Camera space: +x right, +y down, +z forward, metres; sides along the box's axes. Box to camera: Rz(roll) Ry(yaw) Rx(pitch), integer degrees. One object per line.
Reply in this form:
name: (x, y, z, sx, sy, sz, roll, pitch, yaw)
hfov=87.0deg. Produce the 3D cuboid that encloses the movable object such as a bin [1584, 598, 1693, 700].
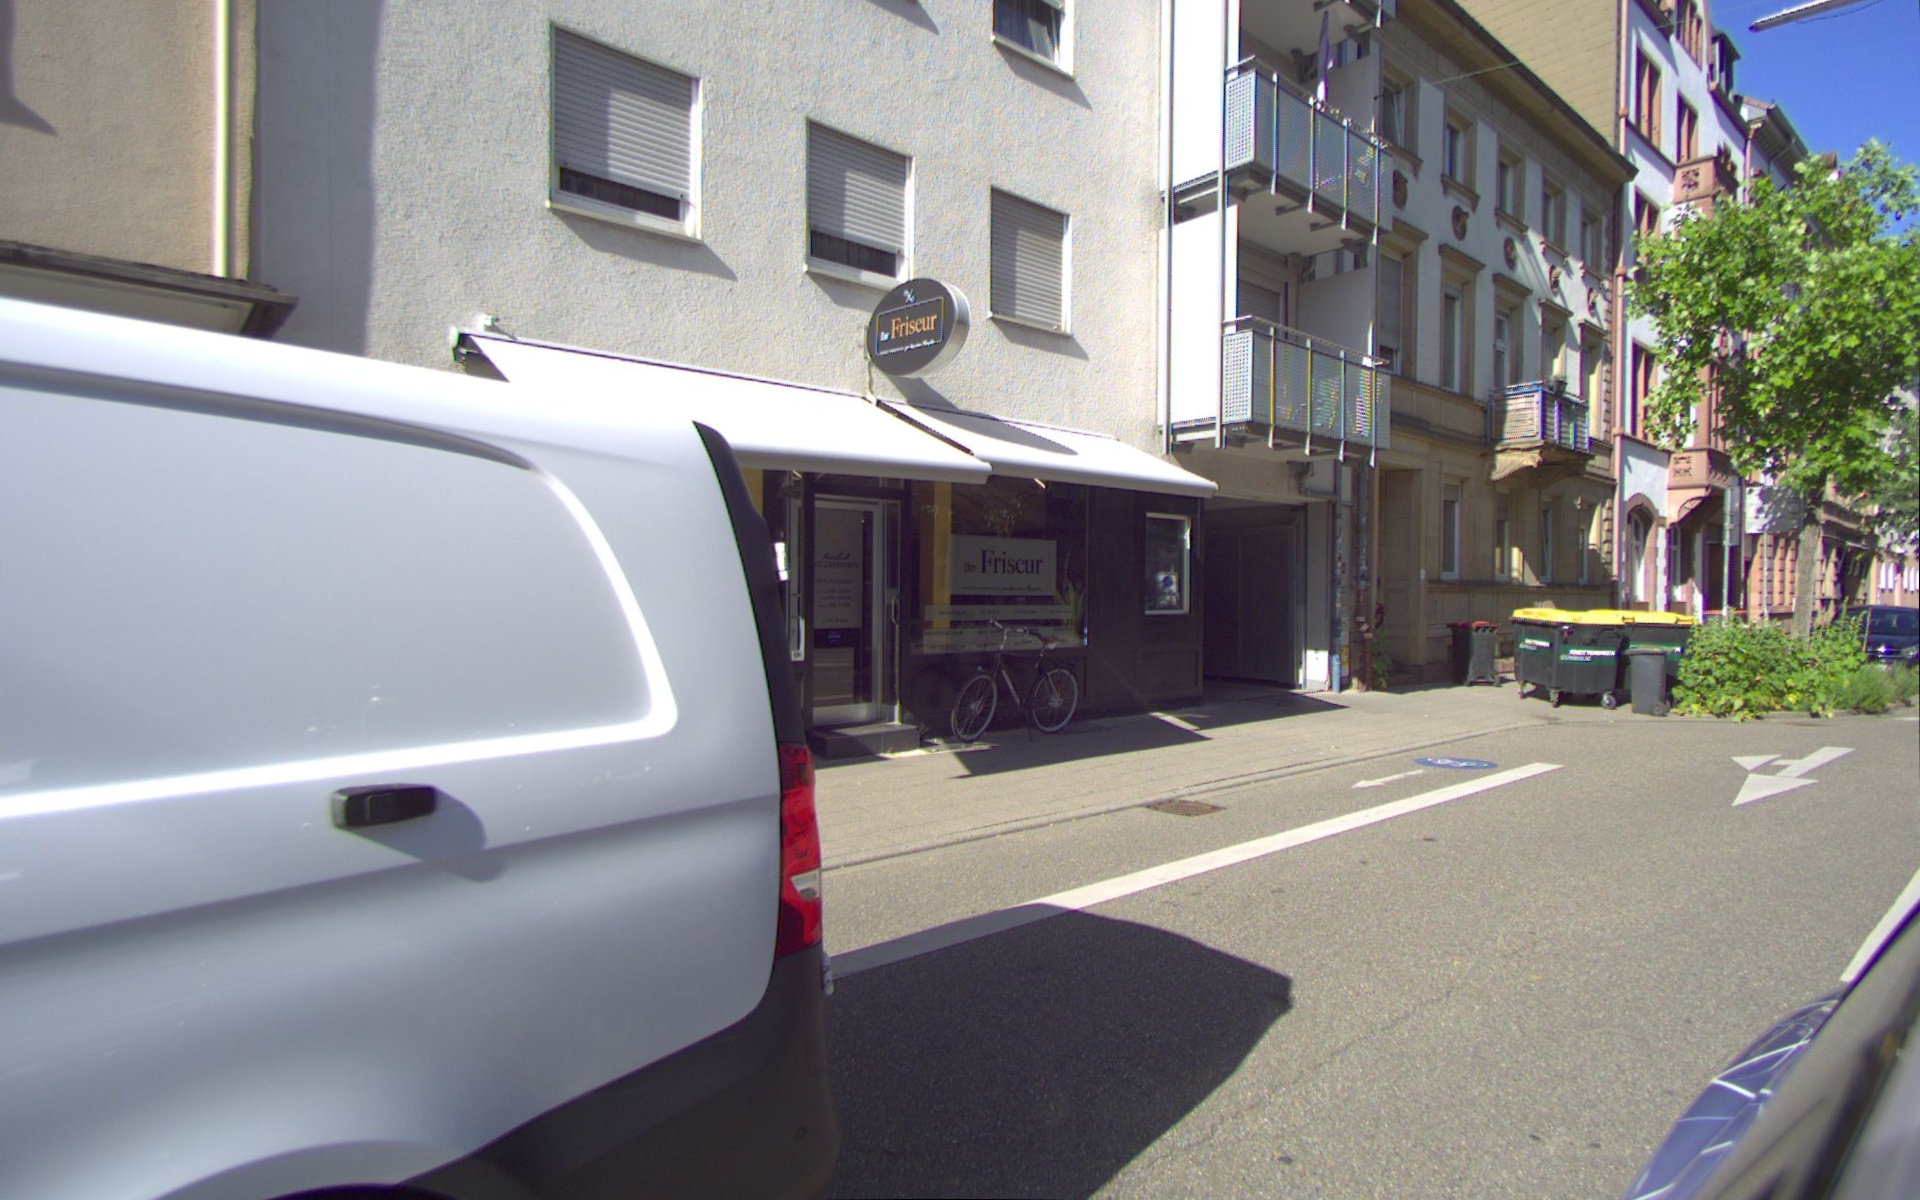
movable object such as a bin: (9.956, 0.686, 14.903, 0.943, 1.365, 1.066, 1, 3, 11)

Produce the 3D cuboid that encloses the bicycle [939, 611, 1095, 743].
bicycle: (0.602, 0.720, 10.105, 1.760, 1.193, 0.402, 0, 0, -41)

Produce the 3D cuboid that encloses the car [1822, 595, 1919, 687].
car: (16.834, 0.674, 18.217, 3.293, 1.510, 1.550, 0, 1, -41)

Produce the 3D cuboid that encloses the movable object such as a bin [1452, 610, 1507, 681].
movable object such as a bin: (8.530, 0.741, 16.625, 0.557, 1.094, 0.617, 1, 3, 1)

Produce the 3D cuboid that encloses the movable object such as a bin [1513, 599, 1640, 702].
movable object such as a bin: (8.840, 0.701, 14.580, 1.030, 1.341, 1.216, 1, 3, 1)

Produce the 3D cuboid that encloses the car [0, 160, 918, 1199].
car: (-2.502, 0.484, 0.888, 4.911, 1.892, 1.839, 0, 1, -43)

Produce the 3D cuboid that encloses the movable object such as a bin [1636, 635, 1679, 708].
movable object such as a bin: (9.569, 0.972, 13.889, 0.399, 0.933, 0.478, 3, 3, 41)
